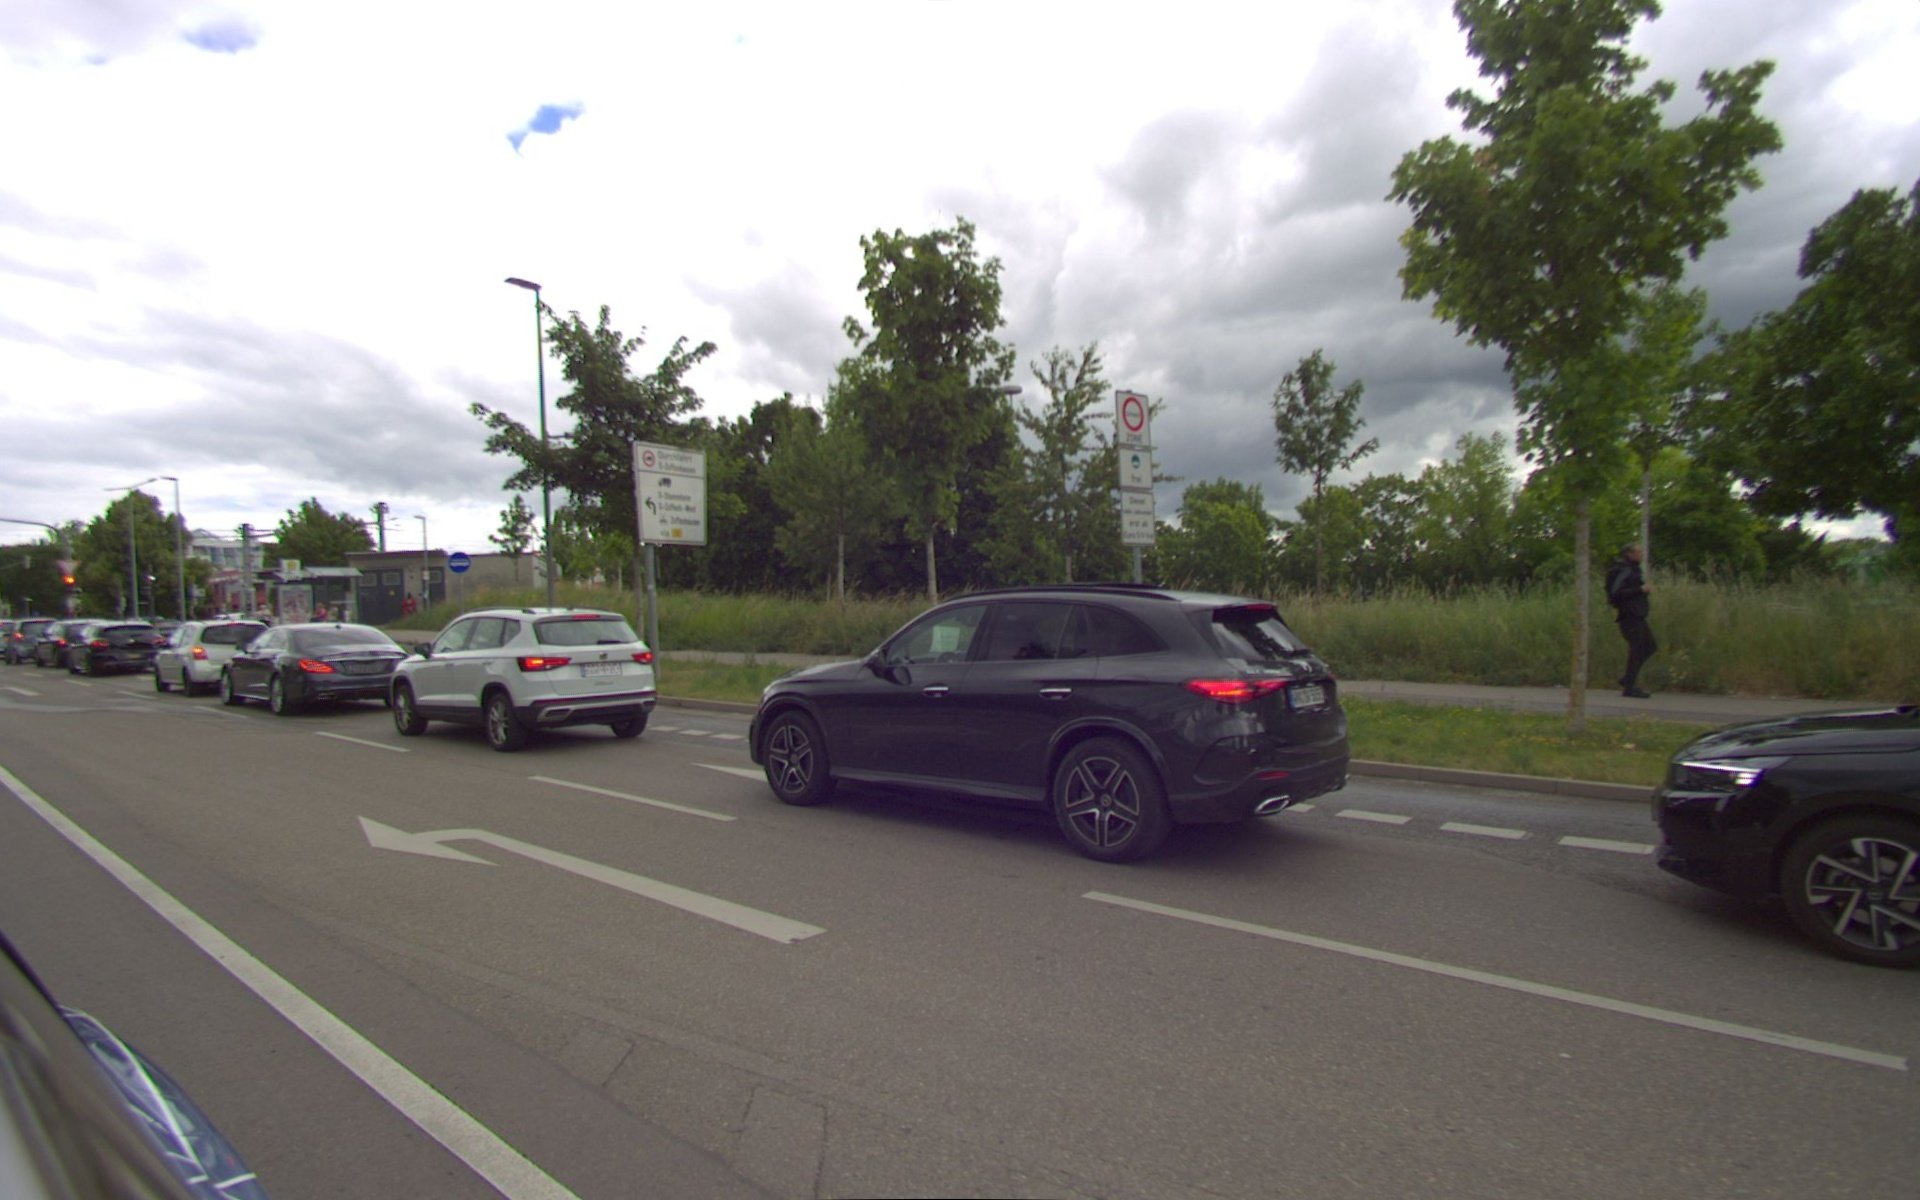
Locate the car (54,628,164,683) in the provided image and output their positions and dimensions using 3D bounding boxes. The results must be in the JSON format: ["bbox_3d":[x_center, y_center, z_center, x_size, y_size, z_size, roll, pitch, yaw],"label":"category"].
[{"bbox_3d":[-23.234,1.484,27.574,4.057,1.342,1.623,-2,0,40],"label":"car"}]

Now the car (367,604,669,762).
[{"bbox_3d":[-5.557,0.926,12.490,4.220,1.597,1.713,-2,0,40],"label":"car"}]

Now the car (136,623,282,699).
[{"bbox_3d":[-15.730,1.230,21.132,3.759,1.401,1.623,-2,0,40],"label":"car"}]

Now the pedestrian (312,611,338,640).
[{"bbox_3d":[-27.930,1.114,44.534,0.549,1.236,0.766,-3,0,32],"label":"pedestrian"}]

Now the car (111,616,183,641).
[{"bbox_3d":[-65.735,2.257,81.909,1.809,1.793,4.177,-2,0,32],"label":"car"}]

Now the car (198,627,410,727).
[{"bbox_3d":[-11.083,1.208,16.947,4.881,1.401,1.623,-2,0,40],"label":"car"}]

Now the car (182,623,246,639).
[{"bbox_3d":[-64.692,2.717,87.784,1.800,1.351,4.195,-2,-3,19],"label":"car"}]

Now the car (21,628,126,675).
[{"bbox_3d":[-28.297,1.616,32.264,4.375,1.342,1.782,-2,0,39],"label":"car"}]

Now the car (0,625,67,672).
[{"bbox_3d":[-32.686,1.697,35.602,2.771,1.538,1.415,-2,0,38],"label":"car"}]

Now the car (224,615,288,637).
[{"bbox_3d":[-64.917,2.394,93.372,2.173,1.920,4.415,-2,-3,25],"label":"car"}]

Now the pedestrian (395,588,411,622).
[{"bbox_3d":[-27.791,0.263,50.514,0.541,1.682,0.430,-2,0,-13],"label":"pedestrian"}]

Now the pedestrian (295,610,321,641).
[{"bbox_3d":[-29.071,1.123,45.147,0.549,1.340,0.766,-3,0,32],"label":"pedestrian"}]

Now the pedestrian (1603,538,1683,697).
[{"bbox_3d":[8.279,0.205,12.261,0.677,1.849,0.713,-2,-1,41],"label":"pedestrian"}]

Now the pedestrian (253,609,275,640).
[{"bbox_3d":[-32.379,1.130,47.073,0.772,1.374,0.544,-3,0,33],"label":"pedestrian"}]

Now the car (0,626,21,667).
[{"bbox_3d":[-38.066,1.838,39.125,4.212,1.547,1.811,-2,0,37],"label":"car"}]

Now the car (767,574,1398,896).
[{"bbox_3d":[0.626,0.714,6.966,4.057,1.597,1.623,-2,0,40],"label":"car"}]

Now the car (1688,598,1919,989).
[{"bbox_3d":[5.075,0.706,3.613,3.892,1.468,1.419,-2,0,40],"label":"car"}]
